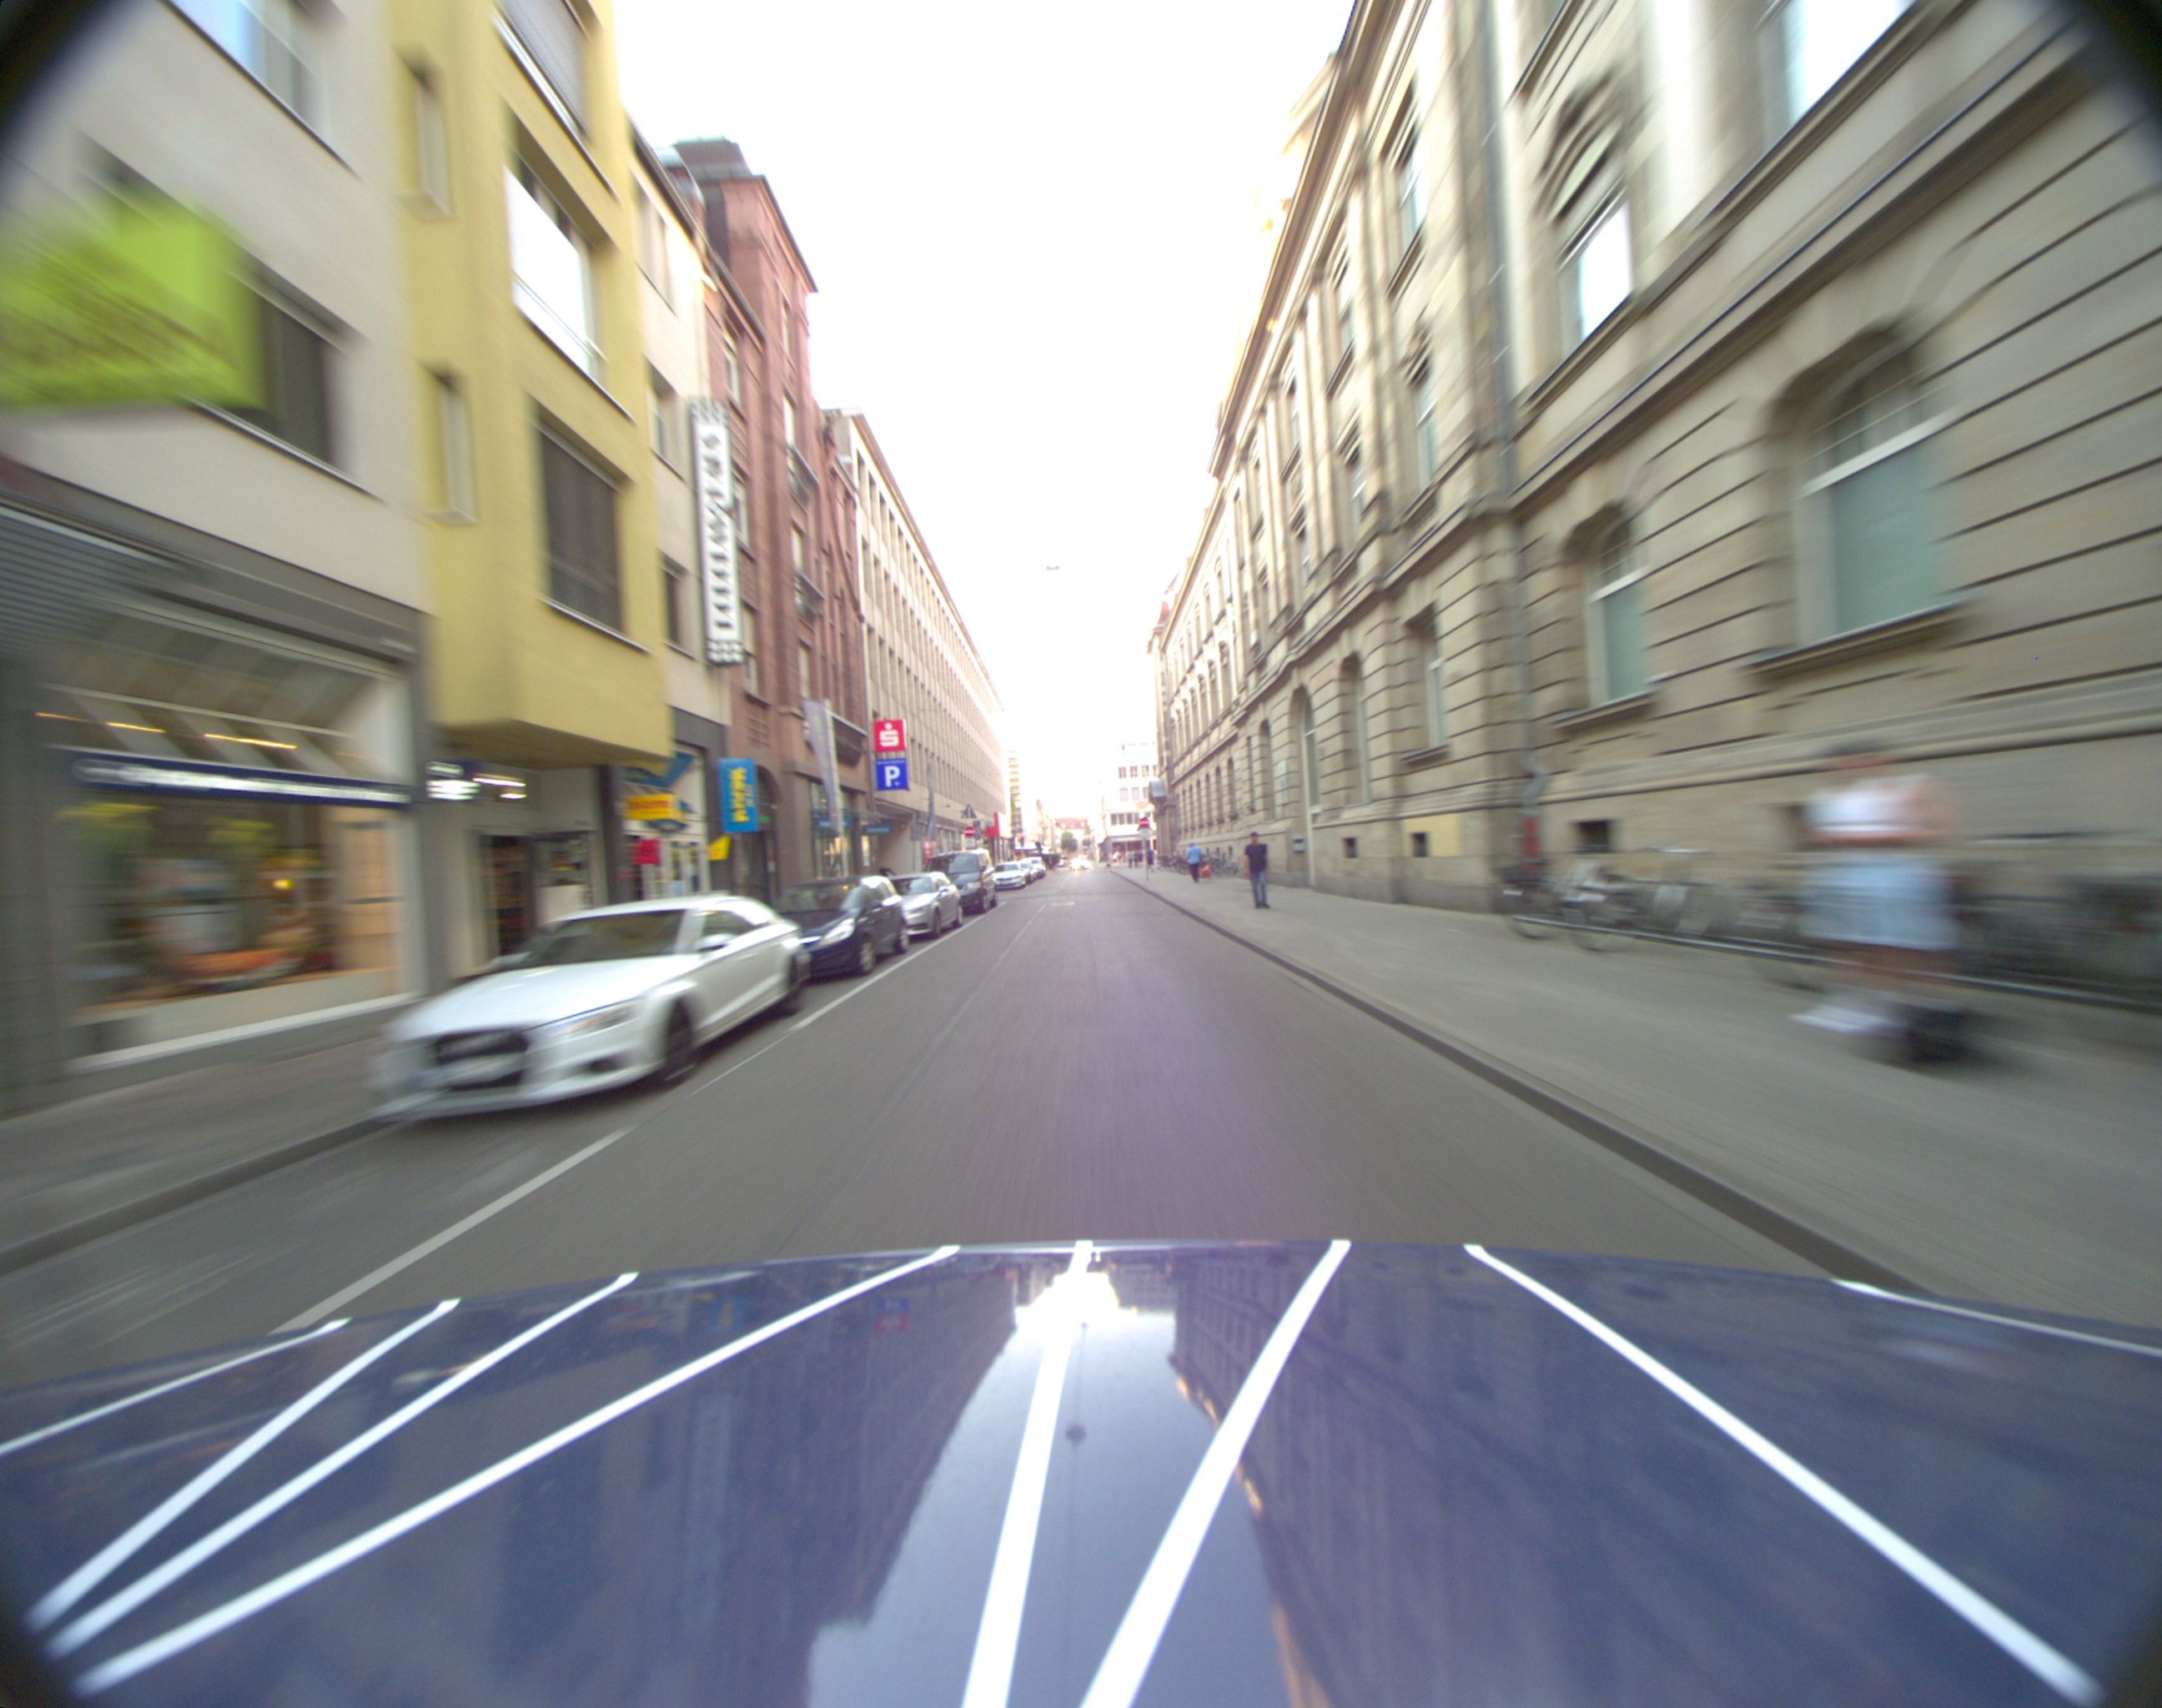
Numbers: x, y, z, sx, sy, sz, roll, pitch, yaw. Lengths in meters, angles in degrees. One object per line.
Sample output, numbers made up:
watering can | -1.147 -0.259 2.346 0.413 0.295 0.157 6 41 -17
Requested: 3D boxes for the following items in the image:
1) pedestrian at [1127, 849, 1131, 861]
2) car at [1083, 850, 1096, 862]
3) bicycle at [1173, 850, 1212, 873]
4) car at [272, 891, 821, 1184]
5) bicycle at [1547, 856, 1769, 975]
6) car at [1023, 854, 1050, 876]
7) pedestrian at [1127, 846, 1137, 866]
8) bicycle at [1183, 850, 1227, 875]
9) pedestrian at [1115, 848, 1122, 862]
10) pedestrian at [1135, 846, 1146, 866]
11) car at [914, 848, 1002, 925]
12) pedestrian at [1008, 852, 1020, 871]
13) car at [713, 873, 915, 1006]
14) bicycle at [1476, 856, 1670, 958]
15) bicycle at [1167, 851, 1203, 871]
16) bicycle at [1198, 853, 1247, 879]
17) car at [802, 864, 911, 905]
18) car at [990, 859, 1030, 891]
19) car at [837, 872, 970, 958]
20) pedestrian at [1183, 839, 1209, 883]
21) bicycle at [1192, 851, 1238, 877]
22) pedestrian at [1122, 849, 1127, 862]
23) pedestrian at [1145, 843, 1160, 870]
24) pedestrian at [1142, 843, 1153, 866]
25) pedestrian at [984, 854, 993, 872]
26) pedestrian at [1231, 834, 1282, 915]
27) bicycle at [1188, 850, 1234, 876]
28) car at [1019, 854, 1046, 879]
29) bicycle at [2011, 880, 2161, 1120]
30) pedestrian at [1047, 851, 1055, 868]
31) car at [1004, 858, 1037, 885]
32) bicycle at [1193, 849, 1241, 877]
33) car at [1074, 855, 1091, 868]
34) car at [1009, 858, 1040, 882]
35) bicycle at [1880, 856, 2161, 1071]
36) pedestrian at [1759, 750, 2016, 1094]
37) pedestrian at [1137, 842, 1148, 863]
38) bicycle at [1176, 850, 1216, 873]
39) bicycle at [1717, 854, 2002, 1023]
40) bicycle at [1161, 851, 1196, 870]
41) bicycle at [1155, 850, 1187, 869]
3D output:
pedestrian | 6.773 0.159 107.235 0.545 1.698 0.558 -4 1 0
car | 1.266 0.294 117.496 1.824 1.728 4.000 -3 0 0
bicycle | 6.293 0.417 42.854 1.943 1.072 0.730 -5 1 -6
car | -3.989 1.206 6.879 1.696 1.403 4.638 -6 0 -2
bicycle | 6.173 0.632 8.165 1.943 1.055 0.619 -5 1 -5
car | -3.705 0.892 64.012 1.744 1.589 4.714 -5 0 1
pedestrian | 4.607 0.180 68.670 0.727 1.732 0.839 -7 0 3
bicycle | 6.201 0.435 38.041 1.943 1.072 0.730 -5 1 -6
pedestrian | 5.020 0.098 101.509 0.783 1.881 0.642 -3 1 0
pedestrian | 5.373 0.174 68.680 0.731 1.658 0.858 -7 0 3
car | -3.772 0.906 24.249 1.851 2.046 5.053 -5 1 0
pedestrian | -6.615 0.737 74.863 0.685 1.907 0.801 -3 0 30
car | -3.957 1.170 12.050 1.622 1.507 4.173 -6 0 -1
bicycle | 6.062 0.638 9.414 1.942 1.055 0.619 -5 1 -1
bicycle | 6.333 0.420 46.362 1.943 1.072 0.730 -5 1 -5
bicycle | 6.279 0.526 33.770 1.940 1.040 0.721 -4 0 -4
car | -10.447 1.415 35.591 4.414 1.493 1.916 -4 1 -1
car | -3.809 1.086 41.184 1.661 1.439 4.307 -5 1 0
car | -3.807 1.252 17.163 1.691 1.444 4.498 -6 0 2
pedestrian | 4.767 0.285 31.585 0.831 1.735 0.769 -6 0 1
bicycle | 6.344 0.458 35.954 1.943 1.072 0.730 -5 1 -6
pedestrian | 6.098 0.191 106.968 0.545 1.698 0.558 -4 1 0
pedestrian | 4.830 0.184 51.426 0.778 1.778 0.820 -4 1 -2
pedestrian | 5.275 0.047 60.386 0.719 1.770 0.800 -5 1 1
pedestrian | -9.161 0.886 74.936 0.800 1.751 0.687 -3 0 -8
pedestrian | 3.986 0.440 17.349 0.811 1.740 0.969 -5 1 0
bicycle | 6.278 0.448 36.725 1.943 1.072 0.730 -5 1 -6
car | -3.662 0.913 58.187 1.781 1.656 4.812 -5 1 -2
bicycle | 6.100 0.672 3.933 1.943 1.055 0.619 -5 1 -5
pedestrian | -3.196 0.625 80.578 0.687 1.751 0.799 -3 0 -7
car | -3.723 1.052 47.157 1.661 1.439 4.444 -5 1 -1
bicycle | 6.200 0.414 34.688 1.942 1.072 0.748 -5 1 0
car | 0.130 0.813 82.782 1.741 1.407 4.682 -1 0 -1
car | -3.877 1.062 52.706 1.661 1.439 3.869 -4 1 1
bicycle | 6.111 0.638 4.747 1.799 1.101 0.500 -5 1 -5
pedestrian | 4.766 0.371 4.543 0.589 1.840 0.754 -5 1 -5
pedestrian | 5.703 -0.150 70.486 0.718 1.819 0.870 -7 0 8
bicycle | 6.302 0.428 41.665 1.943 1.072 0.730 -5 1 -6
bicycle | 6.066 0.628 5.947 1.799 1.101 0.500 -5 1 -5
bicycle | 6.393 0.419 49.796 2.026 1.072 0.729 -6 1 -19
bicycle | 6.219 0.388 52.671 2.024 1.102 0.730 -5 1 -6
